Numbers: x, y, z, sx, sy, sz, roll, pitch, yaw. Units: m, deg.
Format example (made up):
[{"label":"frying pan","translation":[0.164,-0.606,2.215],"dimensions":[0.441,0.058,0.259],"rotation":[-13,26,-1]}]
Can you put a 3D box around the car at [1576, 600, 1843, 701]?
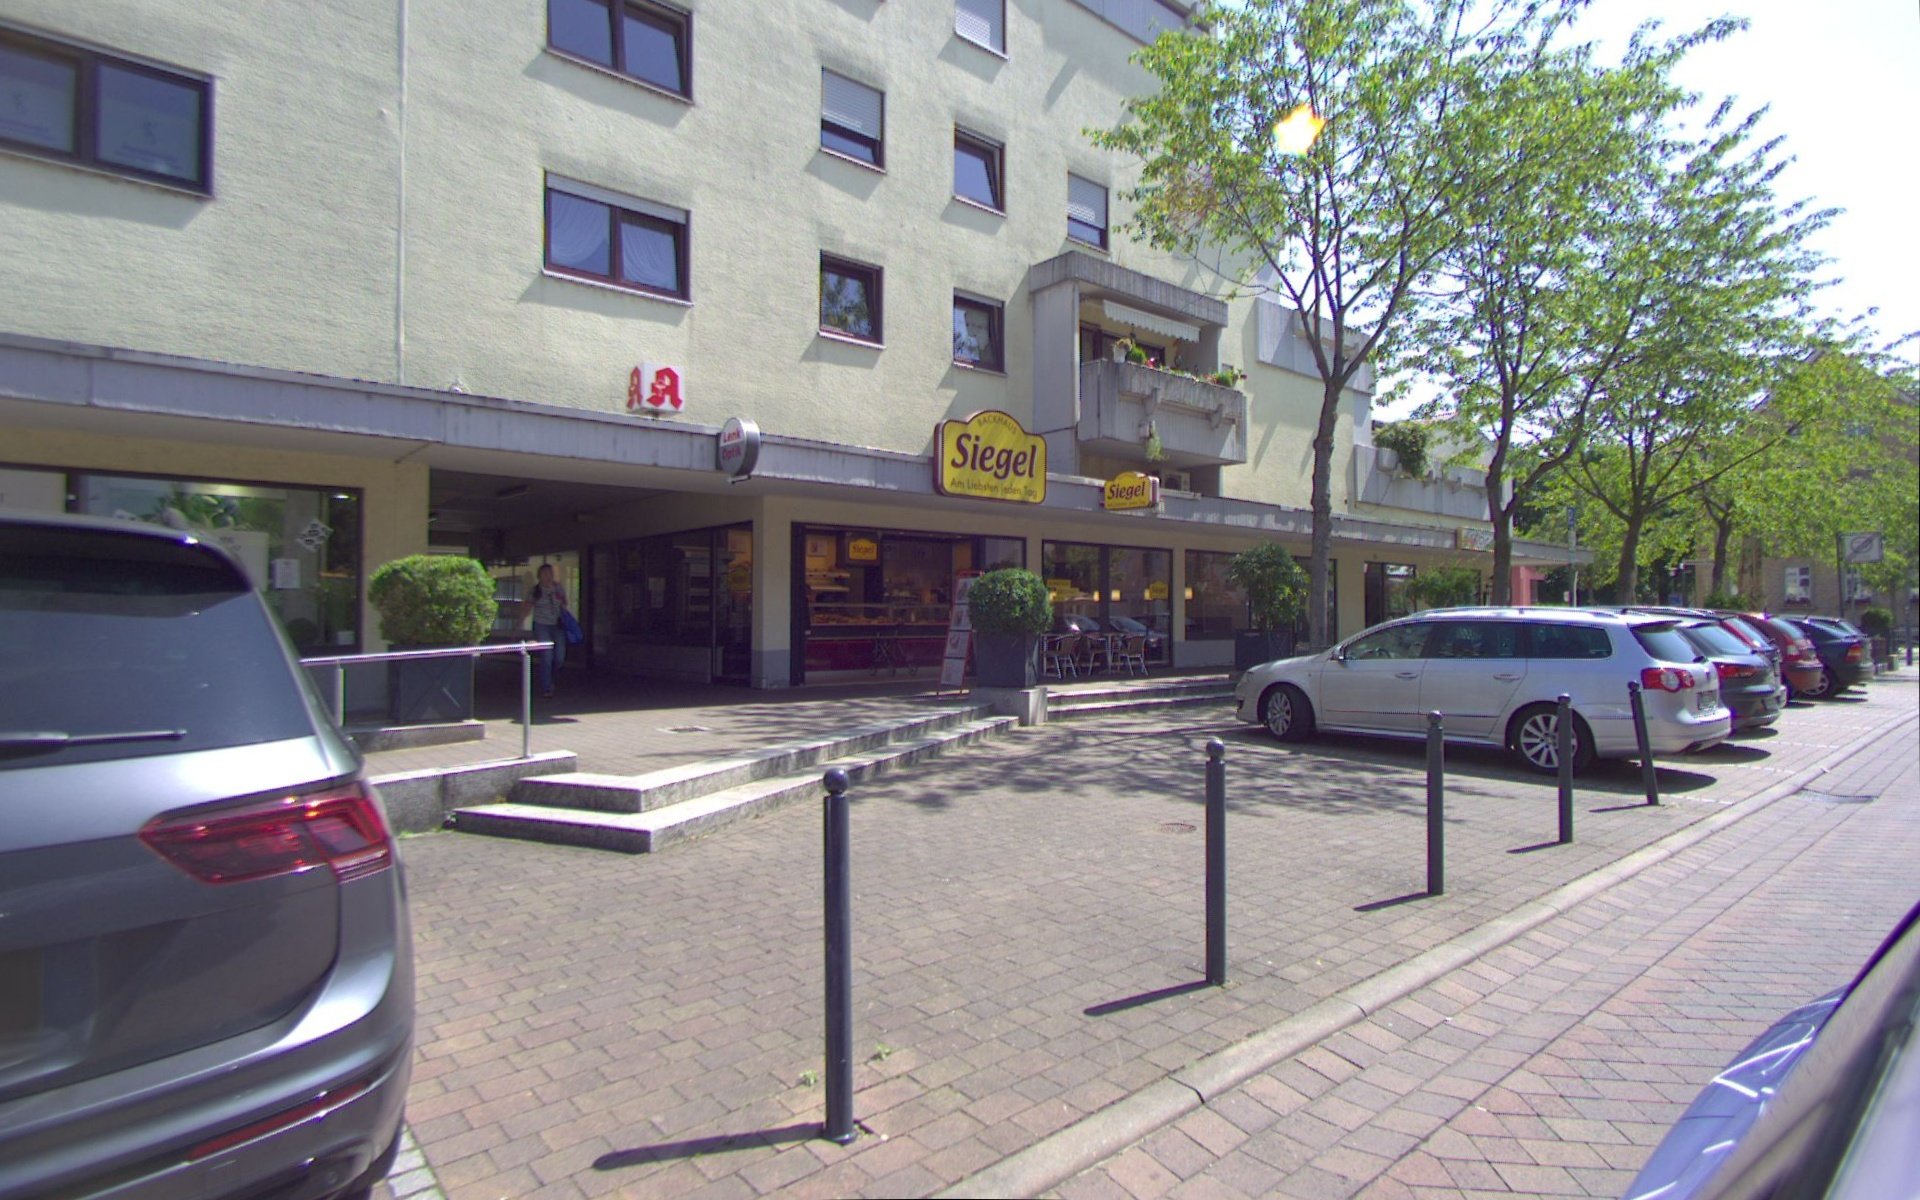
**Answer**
[{"label":"car","translation":[12.629,0.776,17.201],"dimensions":[1.493,1.482,3.400],"rotation":[1,0,-40]}]

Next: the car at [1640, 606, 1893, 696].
[{"label":"car","translation":[14.650,0.858,18.506],"dimensions":[1.434,1.408,3.400],"rotation":[1,0,-40]}]

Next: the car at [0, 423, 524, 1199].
[{"label":"car","translation":[-2.854,0.532,2.880],"dimensions":[1.726,1.638,4.250],"rotation":[1,0,-41]}]

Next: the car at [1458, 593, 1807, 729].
[{"label":"car","translation":[8.978,0.711,13.735],"dimensions":[1.604,1.536,3.651],"rotation":[1,0,-40]}]

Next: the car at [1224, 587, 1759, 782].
[{"label":"car","translation":[5.175,0.701,10.460],"dimensions":[1.774,1.563,4.583],"rotation":[1,-1,-40]}]

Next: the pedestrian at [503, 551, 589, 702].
[{"label":"pedestrian","translation":[-5.166,0.318,12.622],"dimensions":[0.853,1.803,0.760],"rotation":[1,-1,-34]}]

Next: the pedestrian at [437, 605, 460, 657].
[{"label":"pedestrian","translation":[-14.483,0.869,28.645],"dimensions":[0.470,1.444,0.413],"rotation":[1,-1,-45]}]

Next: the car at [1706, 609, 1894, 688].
[{"label":"car","translation":[16.696,0.921,20.191],"dimensions":[1.245,1.464,2.701],"rotation":[1,-2,-41]}]

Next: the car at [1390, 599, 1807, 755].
[{"label":"car","translation":[7.233,0.751,11.773],"dimensions":[1.585,1.449,3.799],"rotation":[1,0,-40]}]
